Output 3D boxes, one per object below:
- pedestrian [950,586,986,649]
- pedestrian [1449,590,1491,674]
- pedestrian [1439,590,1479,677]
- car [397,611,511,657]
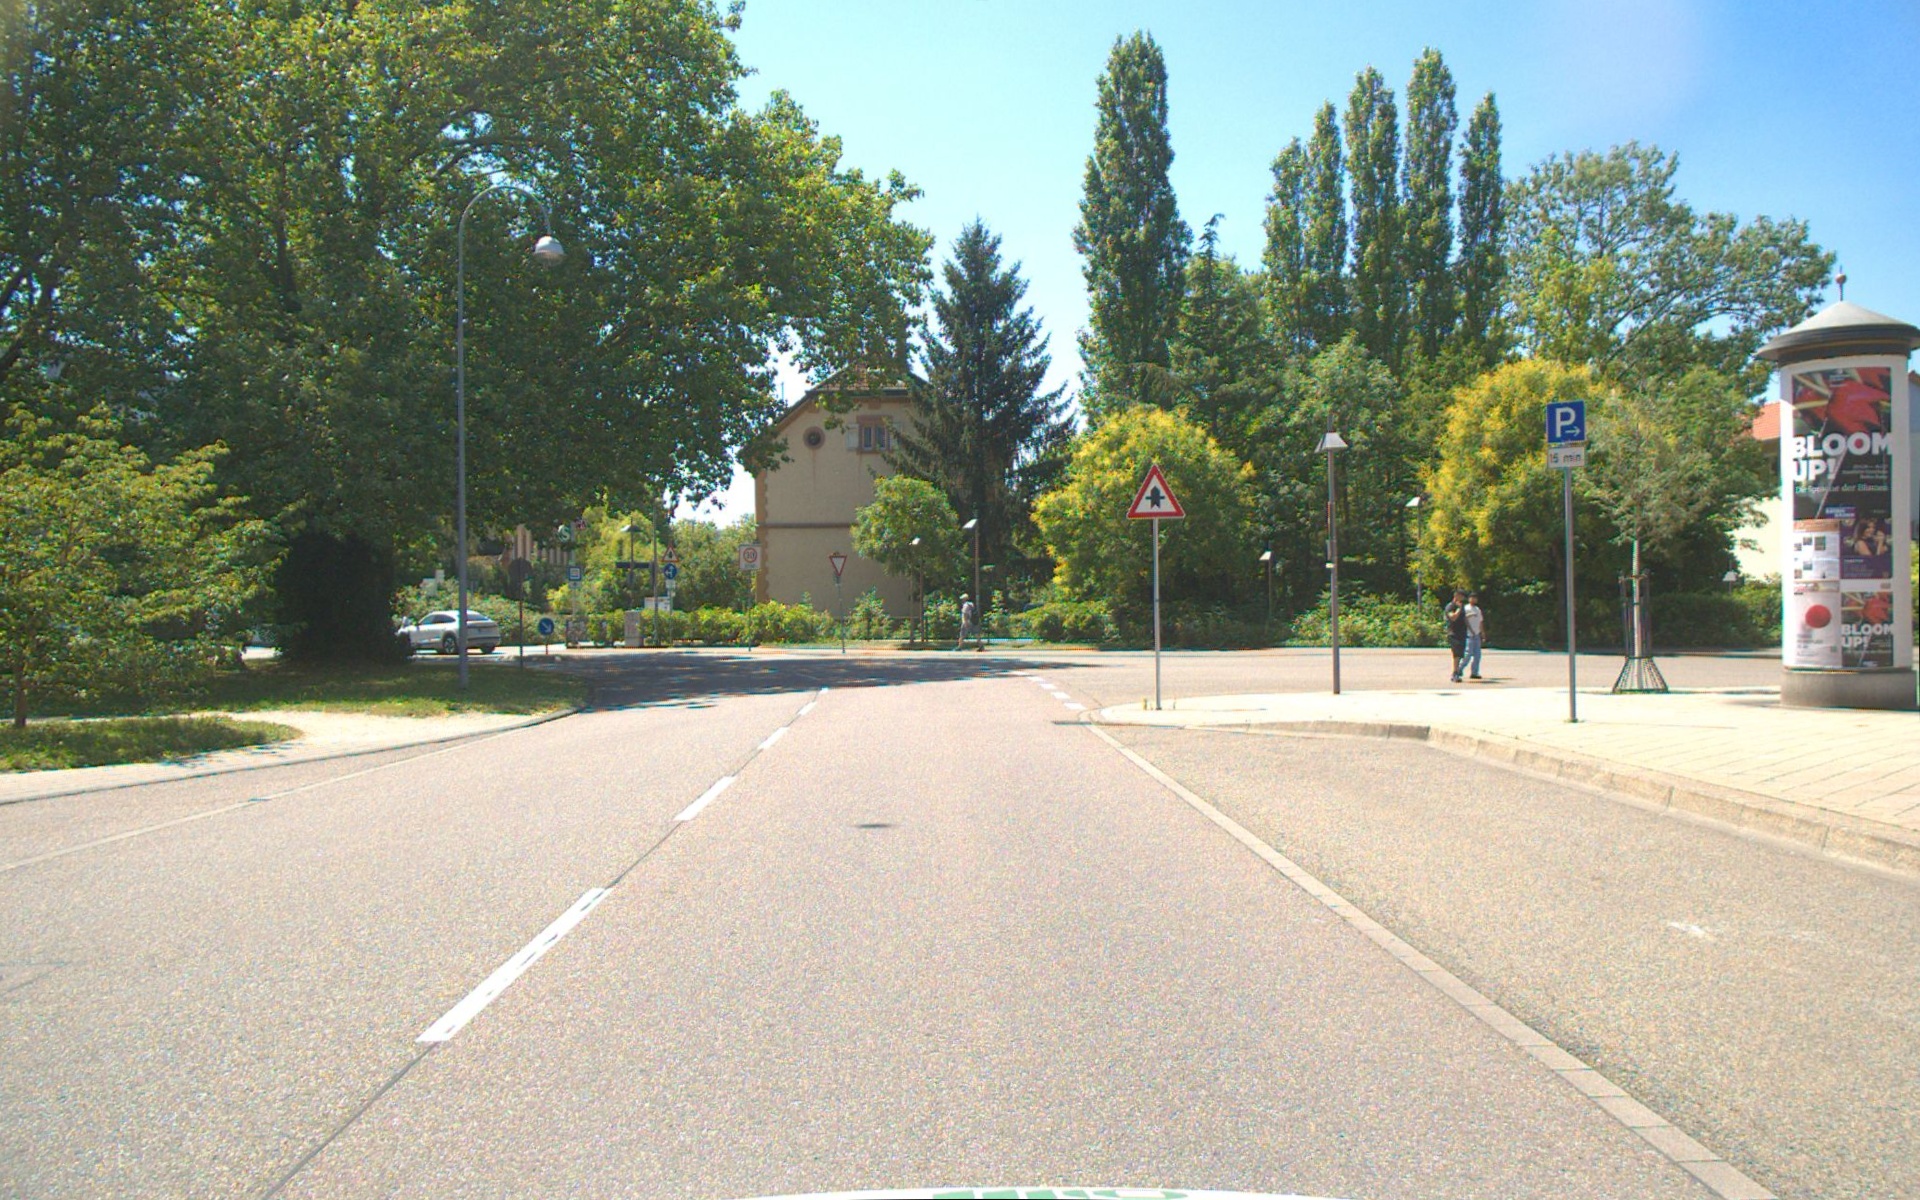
[{"bbox_3d":[0.245,0.570,52.984,0.799,2.000,0.844,0,-1,-41],"label":"pedestrian"},{"bbox_3d":[10.382,0.661,33.678,0.706,1.678,0.750,-1,-3,26],"label":"pedestrian"},{"bbox_3d":[9.839,0.666,32.592,0.623,1.678,0.750,-1,-3,26],"label":"pedestrian"},{"bbox_3d":[-19.590,1.299,63.917,4.689,1.655,1.979,-1,0,40],"label":"car"}]
